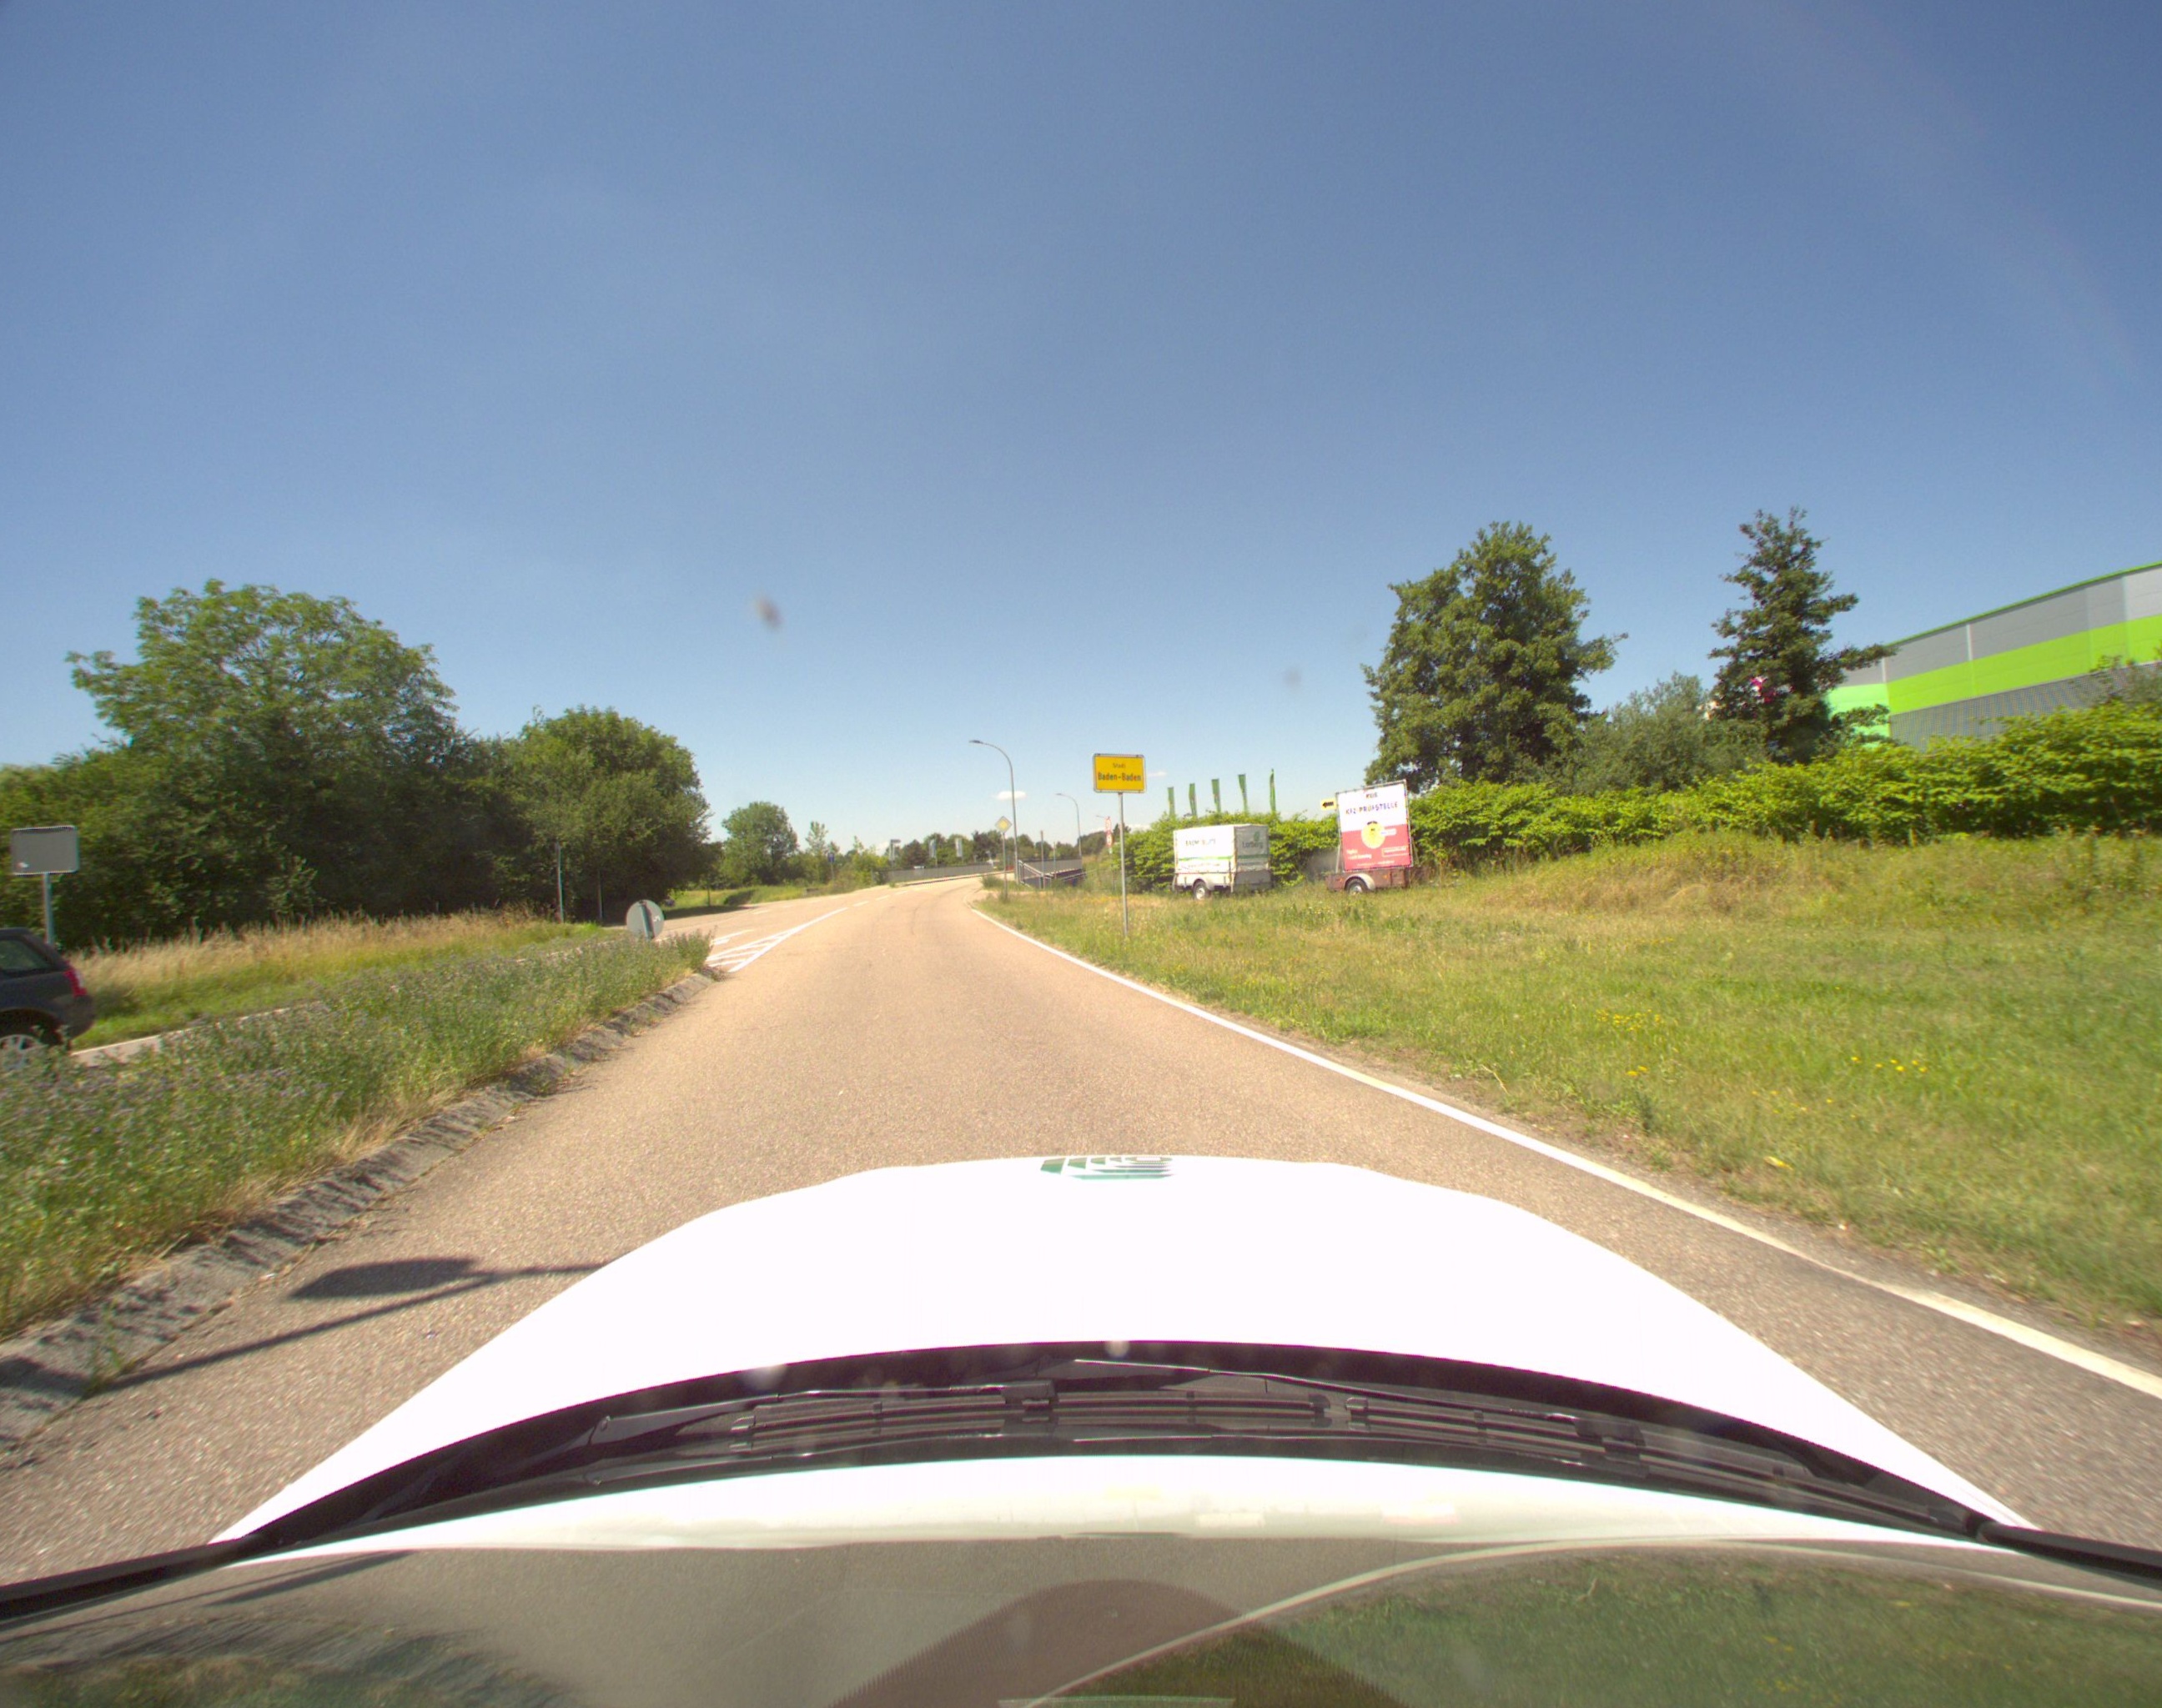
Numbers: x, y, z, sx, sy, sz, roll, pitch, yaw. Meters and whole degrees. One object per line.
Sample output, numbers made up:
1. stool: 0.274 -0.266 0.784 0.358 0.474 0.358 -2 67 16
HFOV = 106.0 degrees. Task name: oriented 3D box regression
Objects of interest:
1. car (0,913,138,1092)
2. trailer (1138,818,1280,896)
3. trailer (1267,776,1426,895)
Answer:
1. car: -12.052 1.666 7.181 1.986 1.721 4.486 -6 0 2
2. trailer: 3.693 0.140 24.147 1.859 2.078 3.926 -3 -1 -35
3. trailer: 6.468 -0.381 20.081 1.860 2.670 3.113 -3 -1 -35
